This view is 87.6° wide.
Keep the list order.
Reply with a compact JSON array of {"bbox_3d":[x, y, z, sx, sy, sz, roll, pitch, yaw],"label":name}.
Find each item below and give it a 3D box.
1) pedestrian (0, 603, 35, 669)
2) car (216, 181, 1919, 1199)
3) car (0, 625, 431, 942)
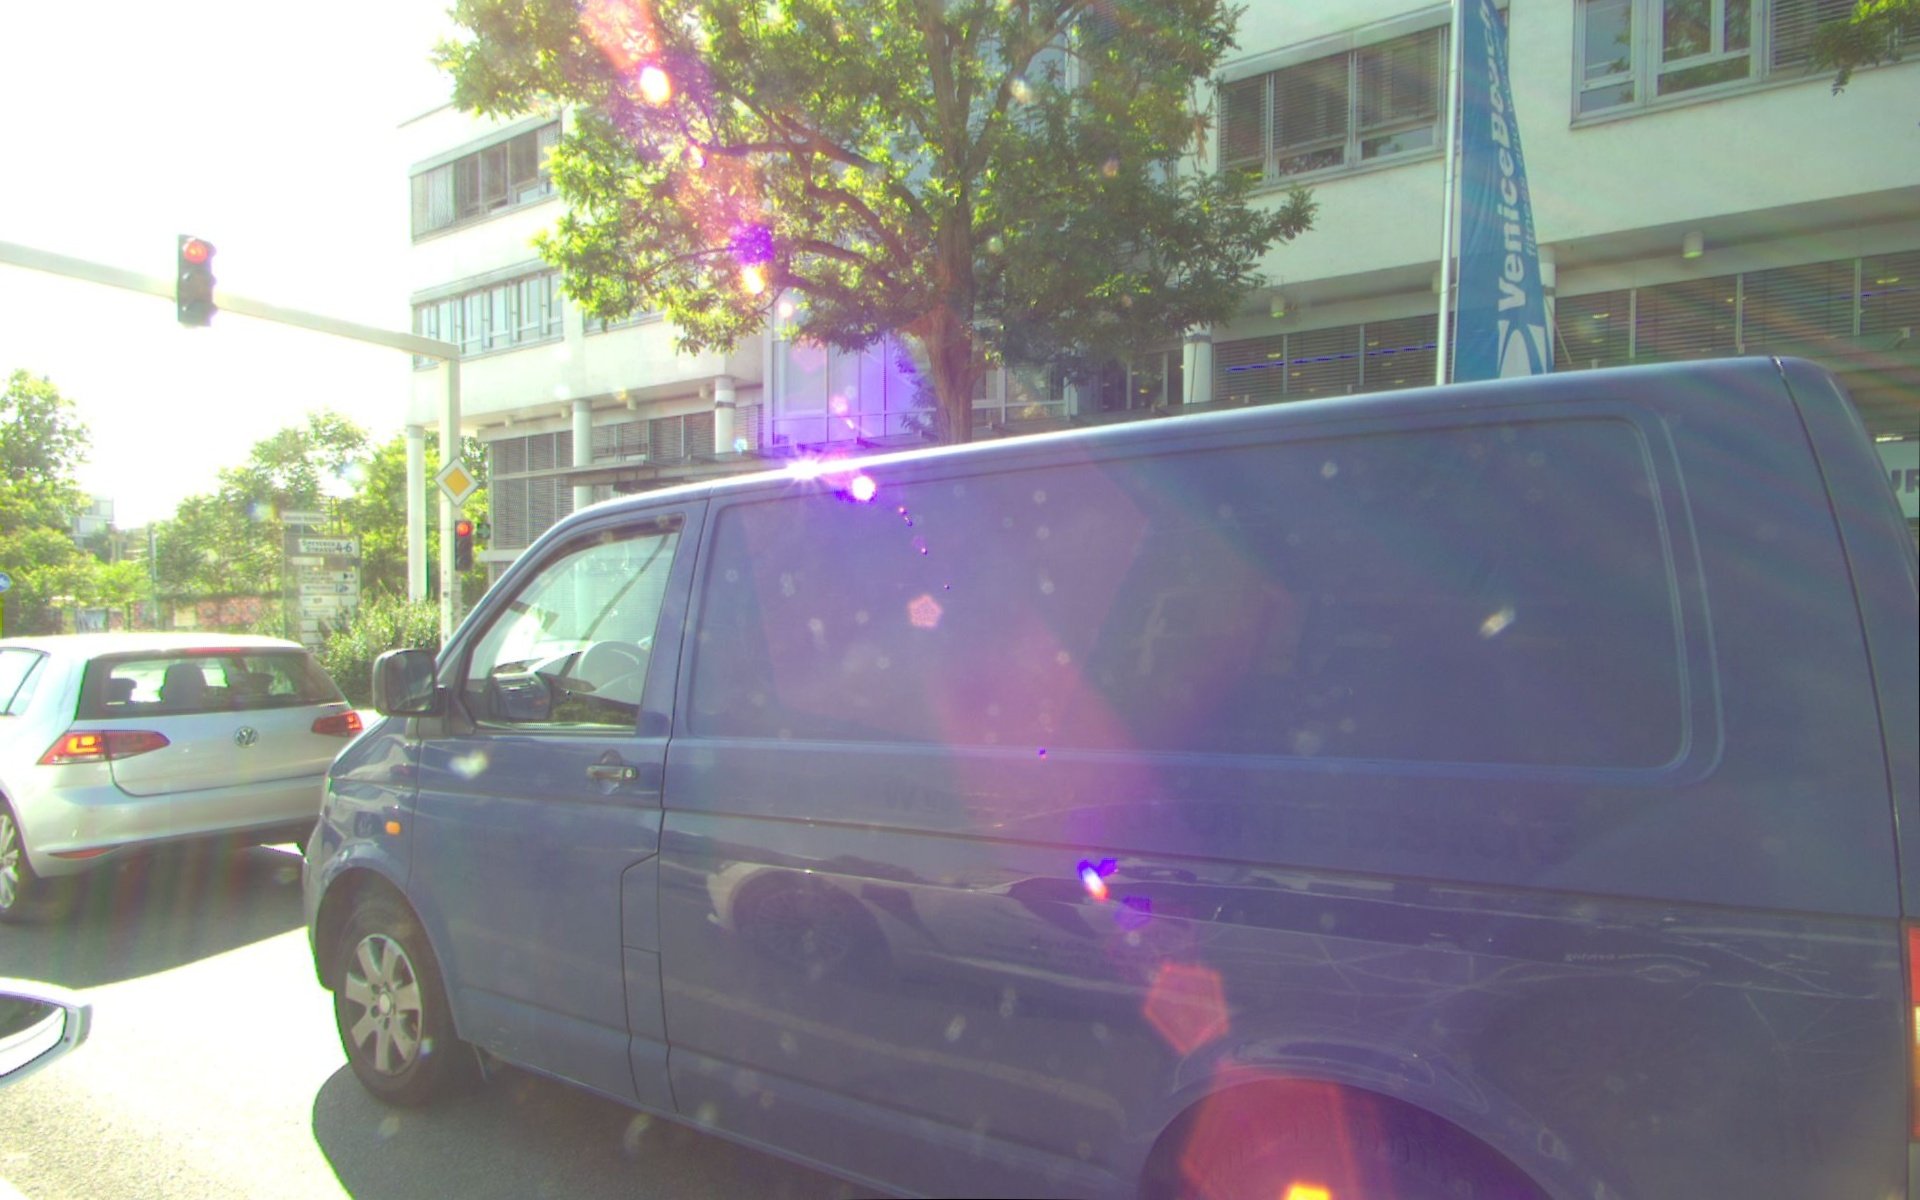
[{"bbox_3d":[-30.114,1.120,31.671,1.023,2.040,1.025,0,0,32],"label":"pedestrian"},{"bbox_3d":[-0.107,0.539,3.166,4.821,1.973,1.989,-1,0,32],"label":"car"},{"bbox_3d":[-5.462,0.919,6.448,3.940,1.448,1.805,-1,-1,30],"label":"car"}]
